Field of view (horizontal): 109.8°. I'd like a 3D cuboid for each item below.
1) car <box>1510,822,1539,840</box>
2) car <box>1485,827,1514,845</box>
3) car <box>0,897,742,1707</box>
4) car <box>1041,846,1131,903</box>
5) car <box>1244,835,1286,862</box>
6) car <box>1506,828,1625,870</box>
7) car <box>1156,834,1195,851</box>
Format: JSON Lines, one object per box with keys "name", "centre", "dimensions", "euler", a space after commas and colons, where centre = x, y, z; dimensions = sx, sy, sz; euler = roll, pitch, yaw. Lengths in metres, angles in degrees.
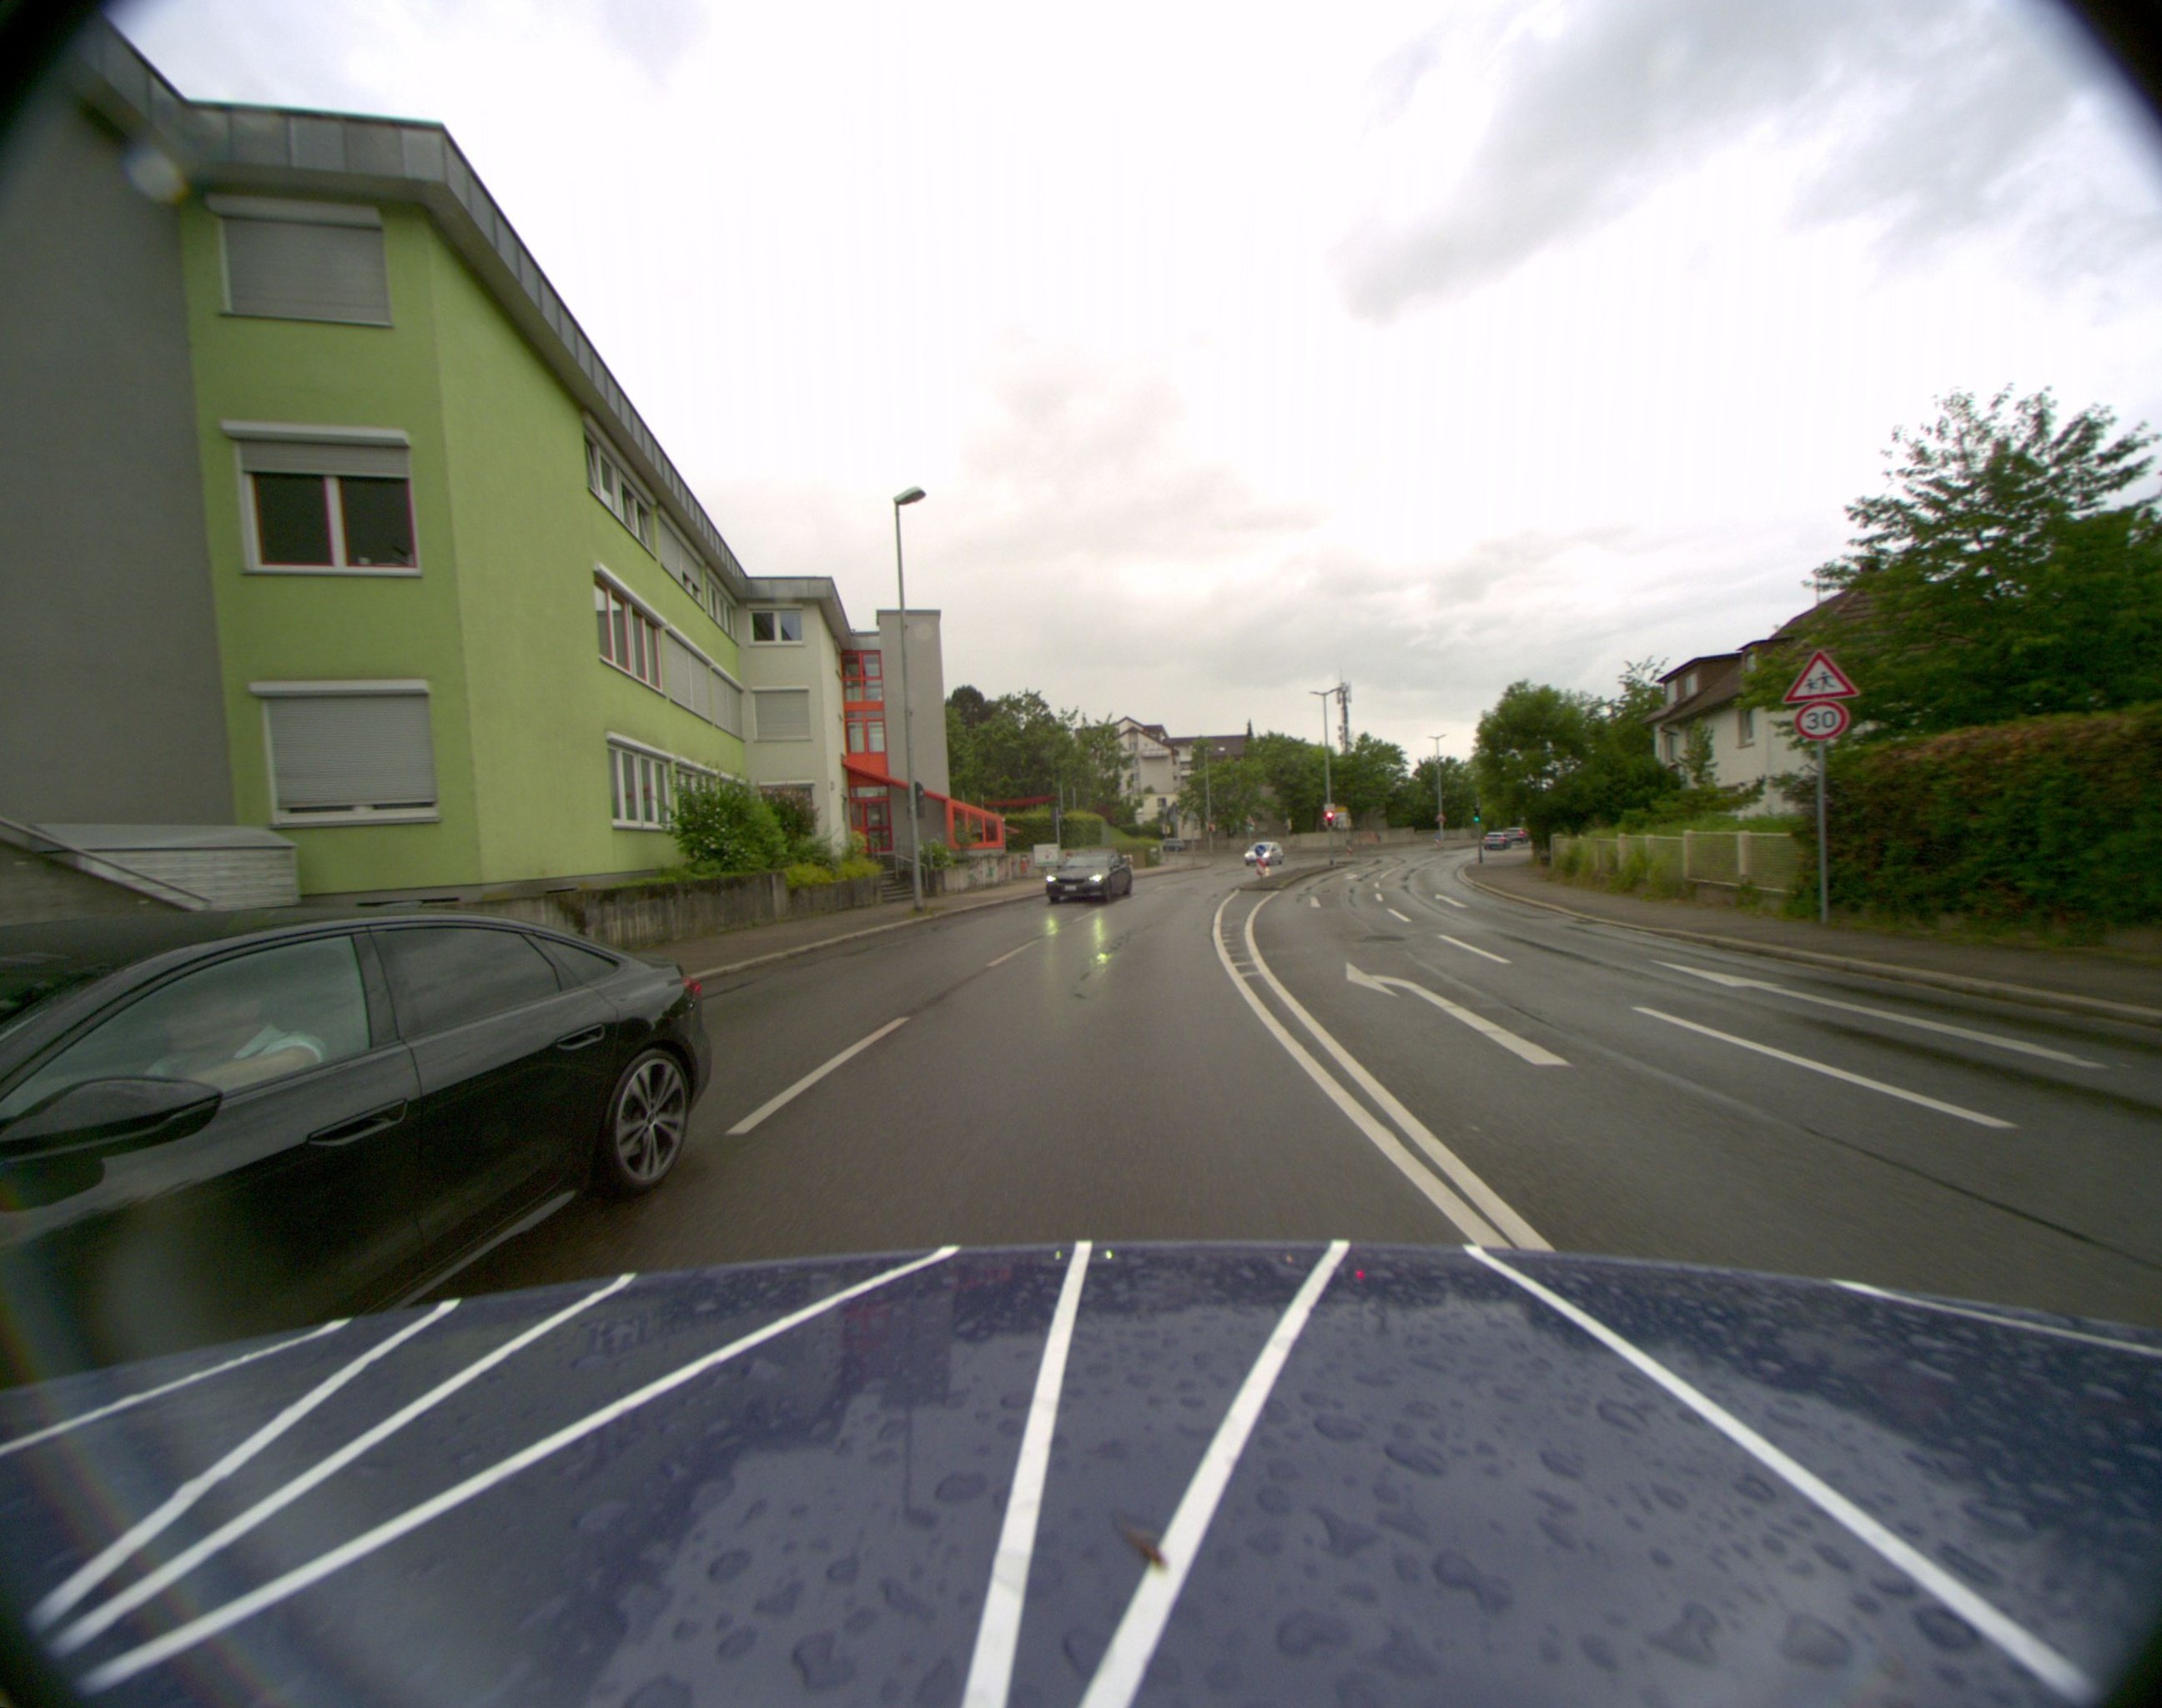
{"name": "car", "centre": [45.927, -2.363, 78.705], "dimensions": [1.883, 1.668, 4.238], "euler": [0, 3, 40]}
{"name": "car", "centre": [37.764, -1.660, 68.501], "dimensions": [1.676, 1.442, 4.696], "euler": [-1, 3, 37]}
{"name": "car", "centre": [-2.994, 1.088, 2.038], "dimensions": [1.871, 1.416, 4.737], "euler": [-3, 2, 1]}
{"name": "car", "centre": [0.261, 0.592, 24.599], "dimensions": [1.870, 1.511, 4.003], "euler": [-2, 2, 16]}
{"name": "car", "centre": [12.622, -0.400, 51.964], "dimensions": [1.995, 1.647, 4.005], "euler": [-1, 3, 25]}
{"name": "car", "centre": [20.989, -0.237, 33.124], "dimensions": [3.992, 1.386, 1.935], "euler": [-6, 0, 22]}
{"name": "car", "centre": [10.782, -1.324, 86.532], "dimensions": [4.220, 1.647, 2.001], "euler": [-2, 3, 10]}
